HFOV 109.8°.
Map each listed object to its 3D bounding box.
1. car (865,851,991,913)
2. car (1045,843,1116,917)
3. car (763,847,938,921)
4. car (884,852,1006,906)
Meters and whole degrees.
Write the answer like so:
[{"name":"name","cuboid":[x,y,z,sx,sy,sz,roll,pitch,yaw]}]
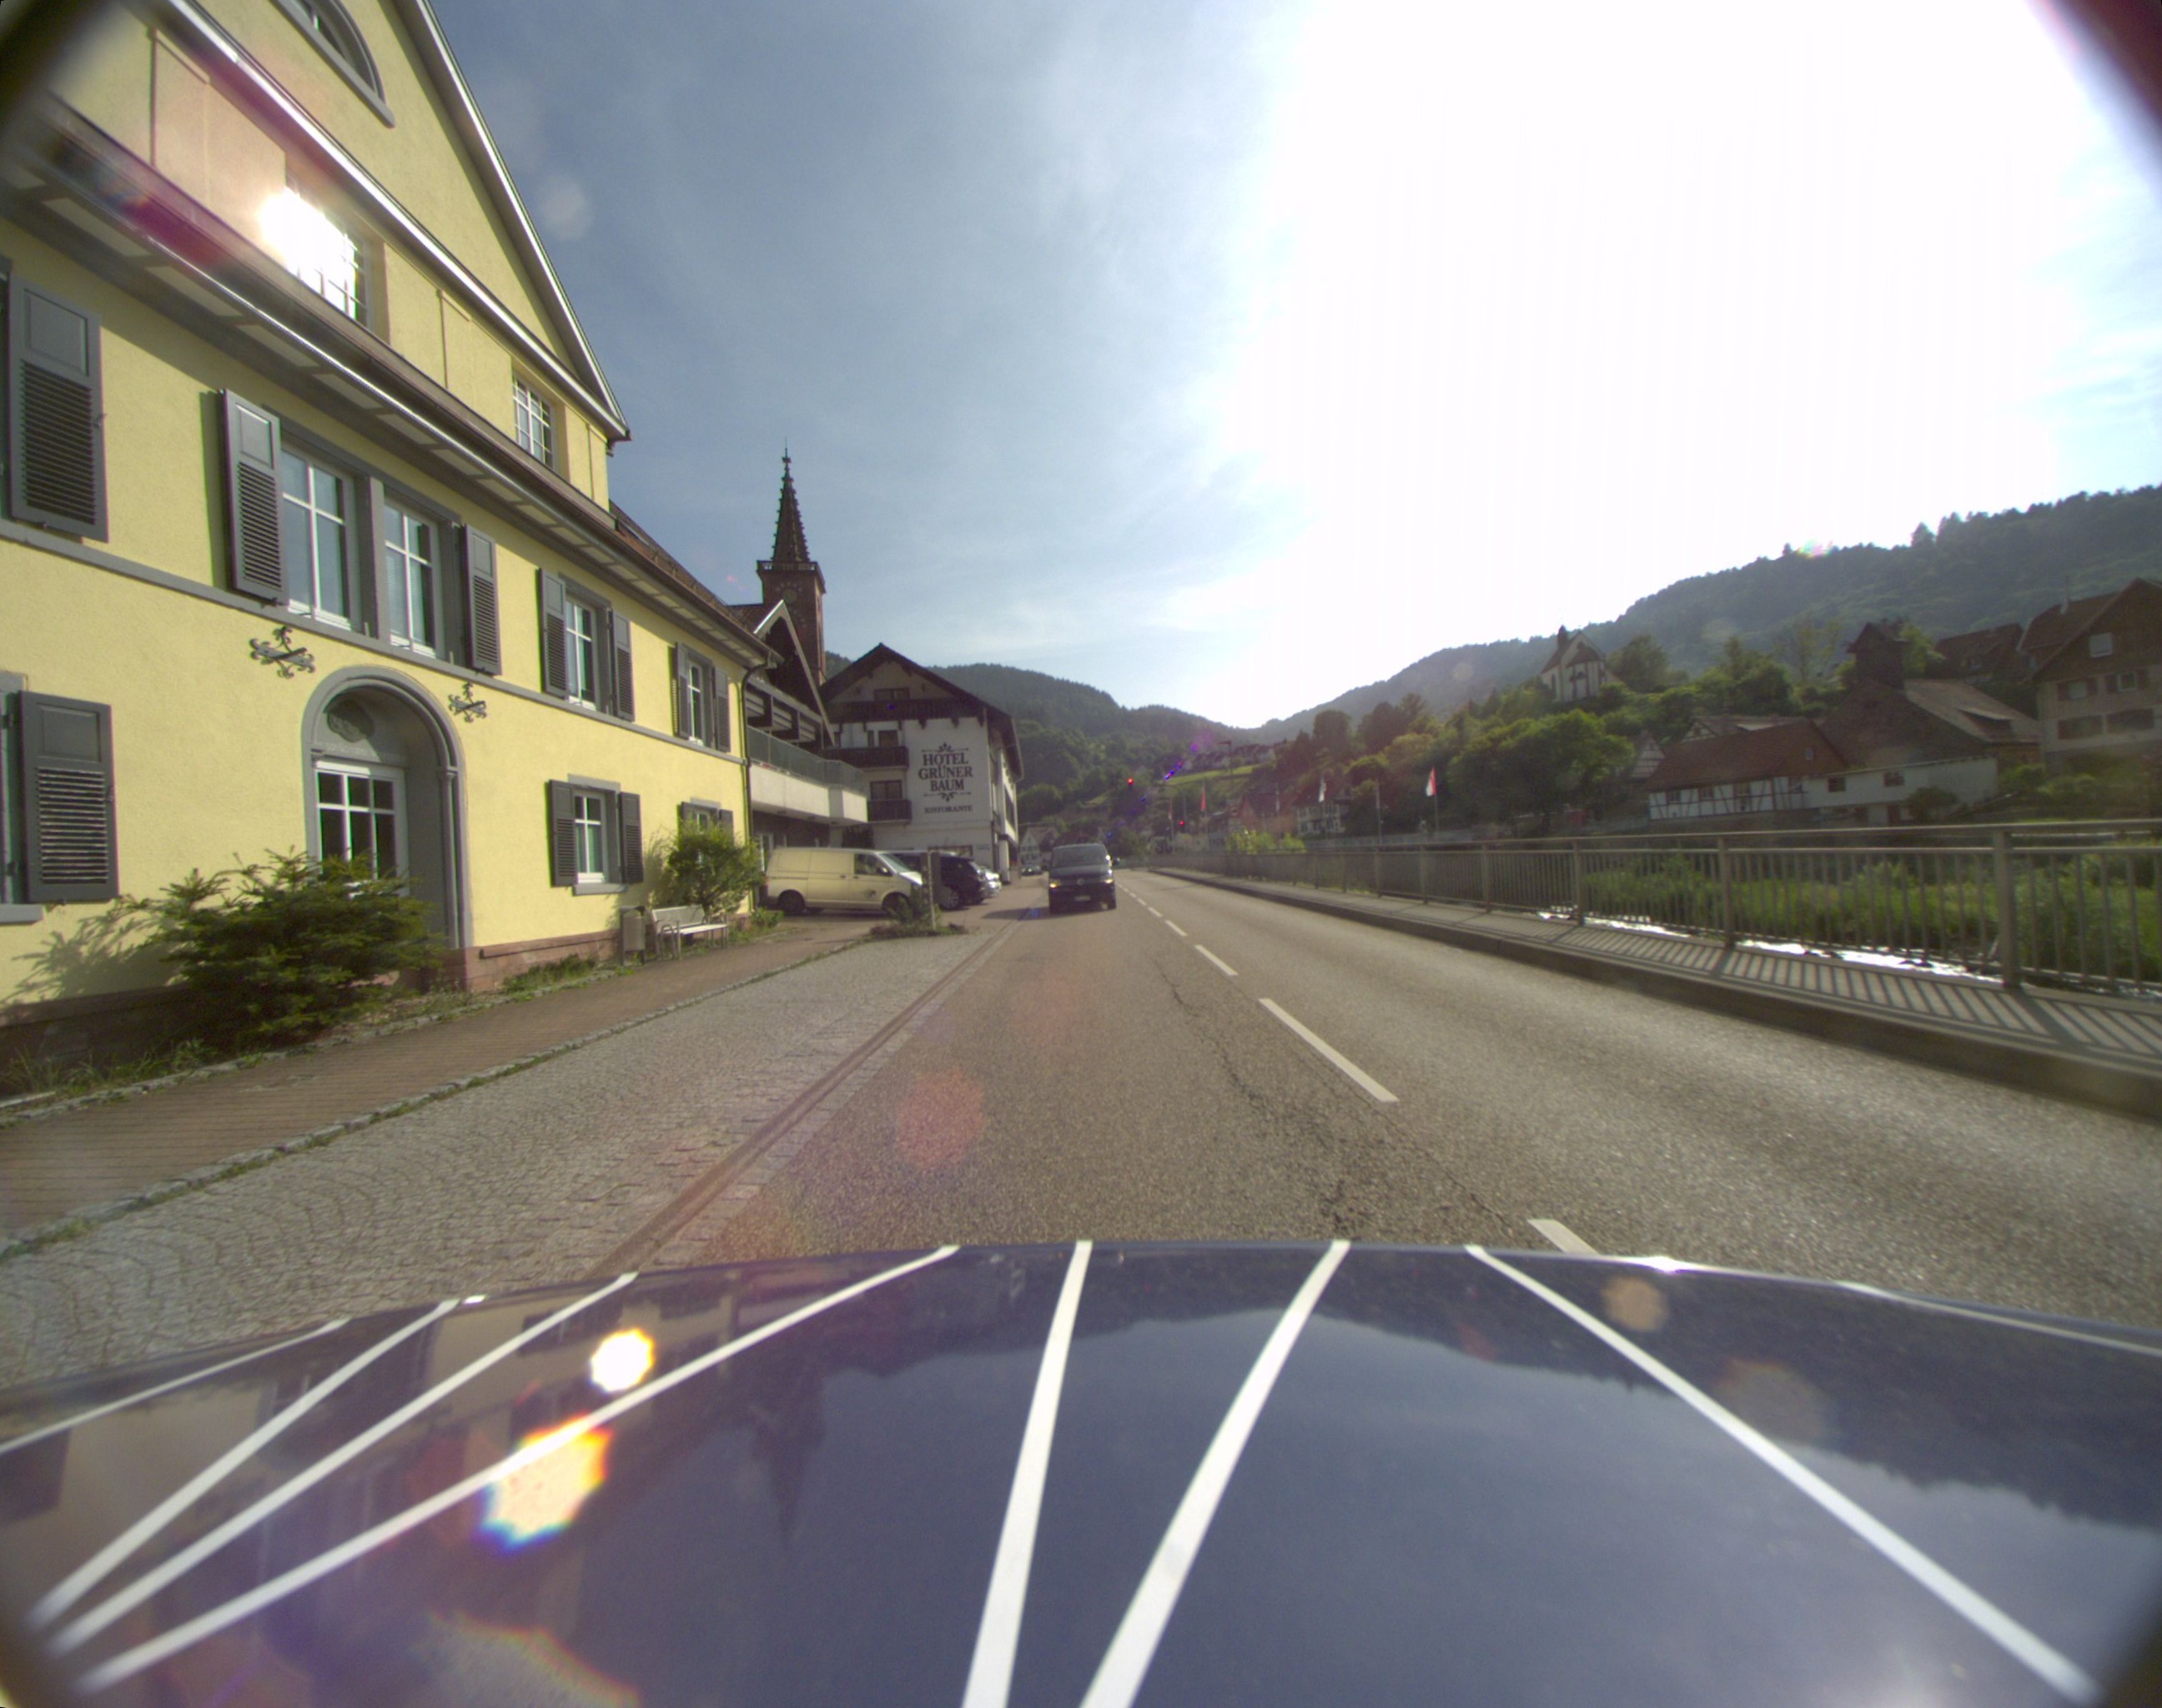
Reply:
[{"name":"car","cuboid":[-4.916,0.877,24.693,3.755,1.882,1.372,1,0,2]},{"name":"car","cuboid":[0.033,0.734,23.236,1.887,1.952,4.866,-2,0,1]},{"name":"car","cuboid":[-6.584,0.838,21.979,4.453,1.946,1.714,2,0,2]},{"name":"car","cuboid":[-4.832,0.889,27.307,3.996,1.870,1.685,0,0,3]}]
